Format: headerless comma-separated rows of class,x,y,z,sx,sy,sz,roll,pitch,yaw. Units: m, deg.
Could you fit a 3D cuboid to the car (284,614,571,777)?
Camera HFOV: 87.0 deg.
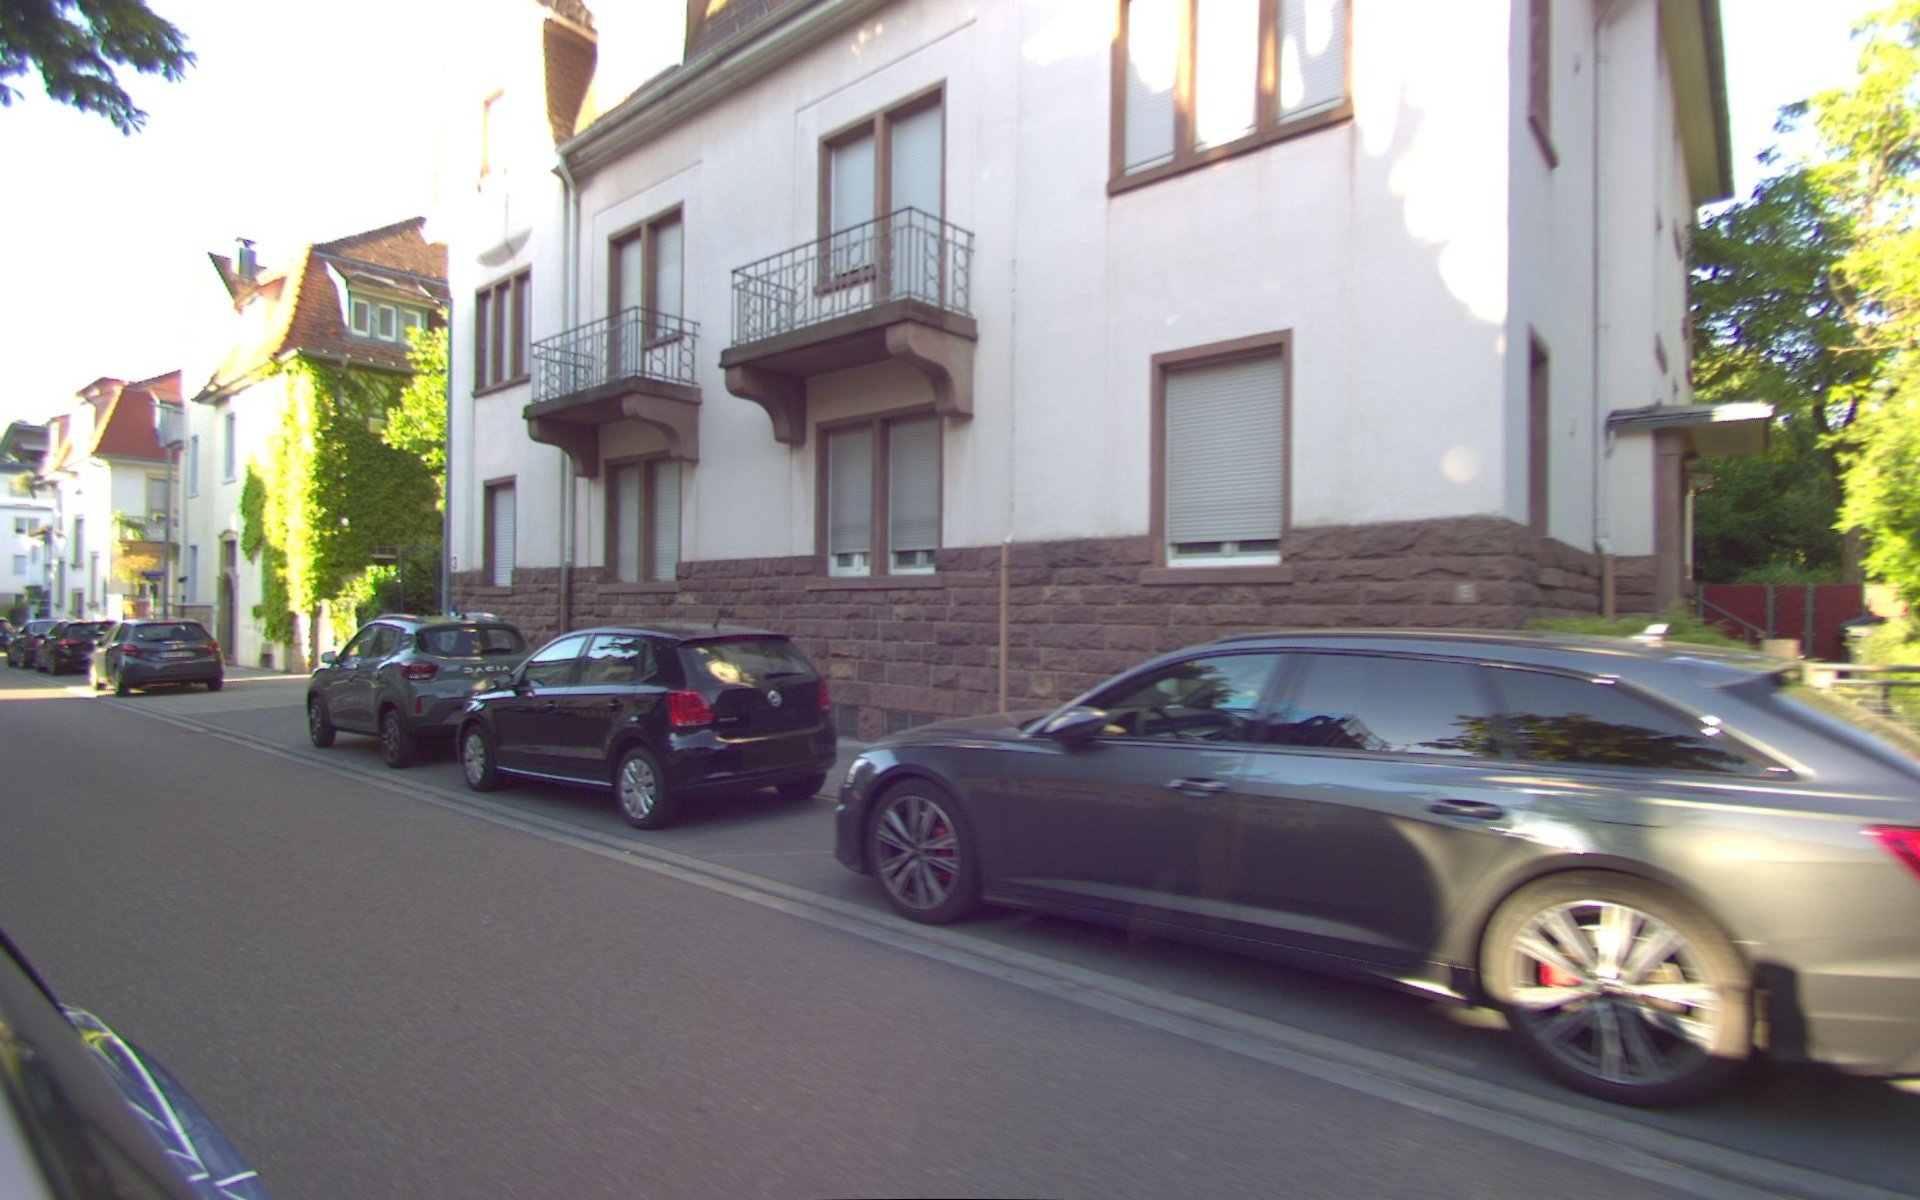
car,-6.050,0.920,11.327,3.763,1.497,1.636,-1,0,42

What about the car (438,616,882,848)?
car,-2.597,0.878,8.336,3.840,1.458,1.637,-1,0,39

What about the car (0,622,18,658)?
car,-41.531,1.704,43.105,4.629,1.465,1.636,-1,0,42

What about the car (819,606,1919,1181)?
car,1.654,0.788,4.472,4.773,1.472,1.774,-1,0,40

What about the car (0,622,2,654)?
car,-45.769,1.769,46.807,3.700,1.488,1.567,-1,0,38

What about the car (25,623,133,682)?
car,-23.803,1.355,27.306,4.165,1.426,1.636,-1,0,41

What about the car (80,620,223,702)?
car,-16.514,1.163,20.601,4.003,1.458,1.636,-1,0,42

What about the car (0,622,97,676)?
car,-27.940,1.445,30.864,4.629,1.481,1.692,-1,0,40
